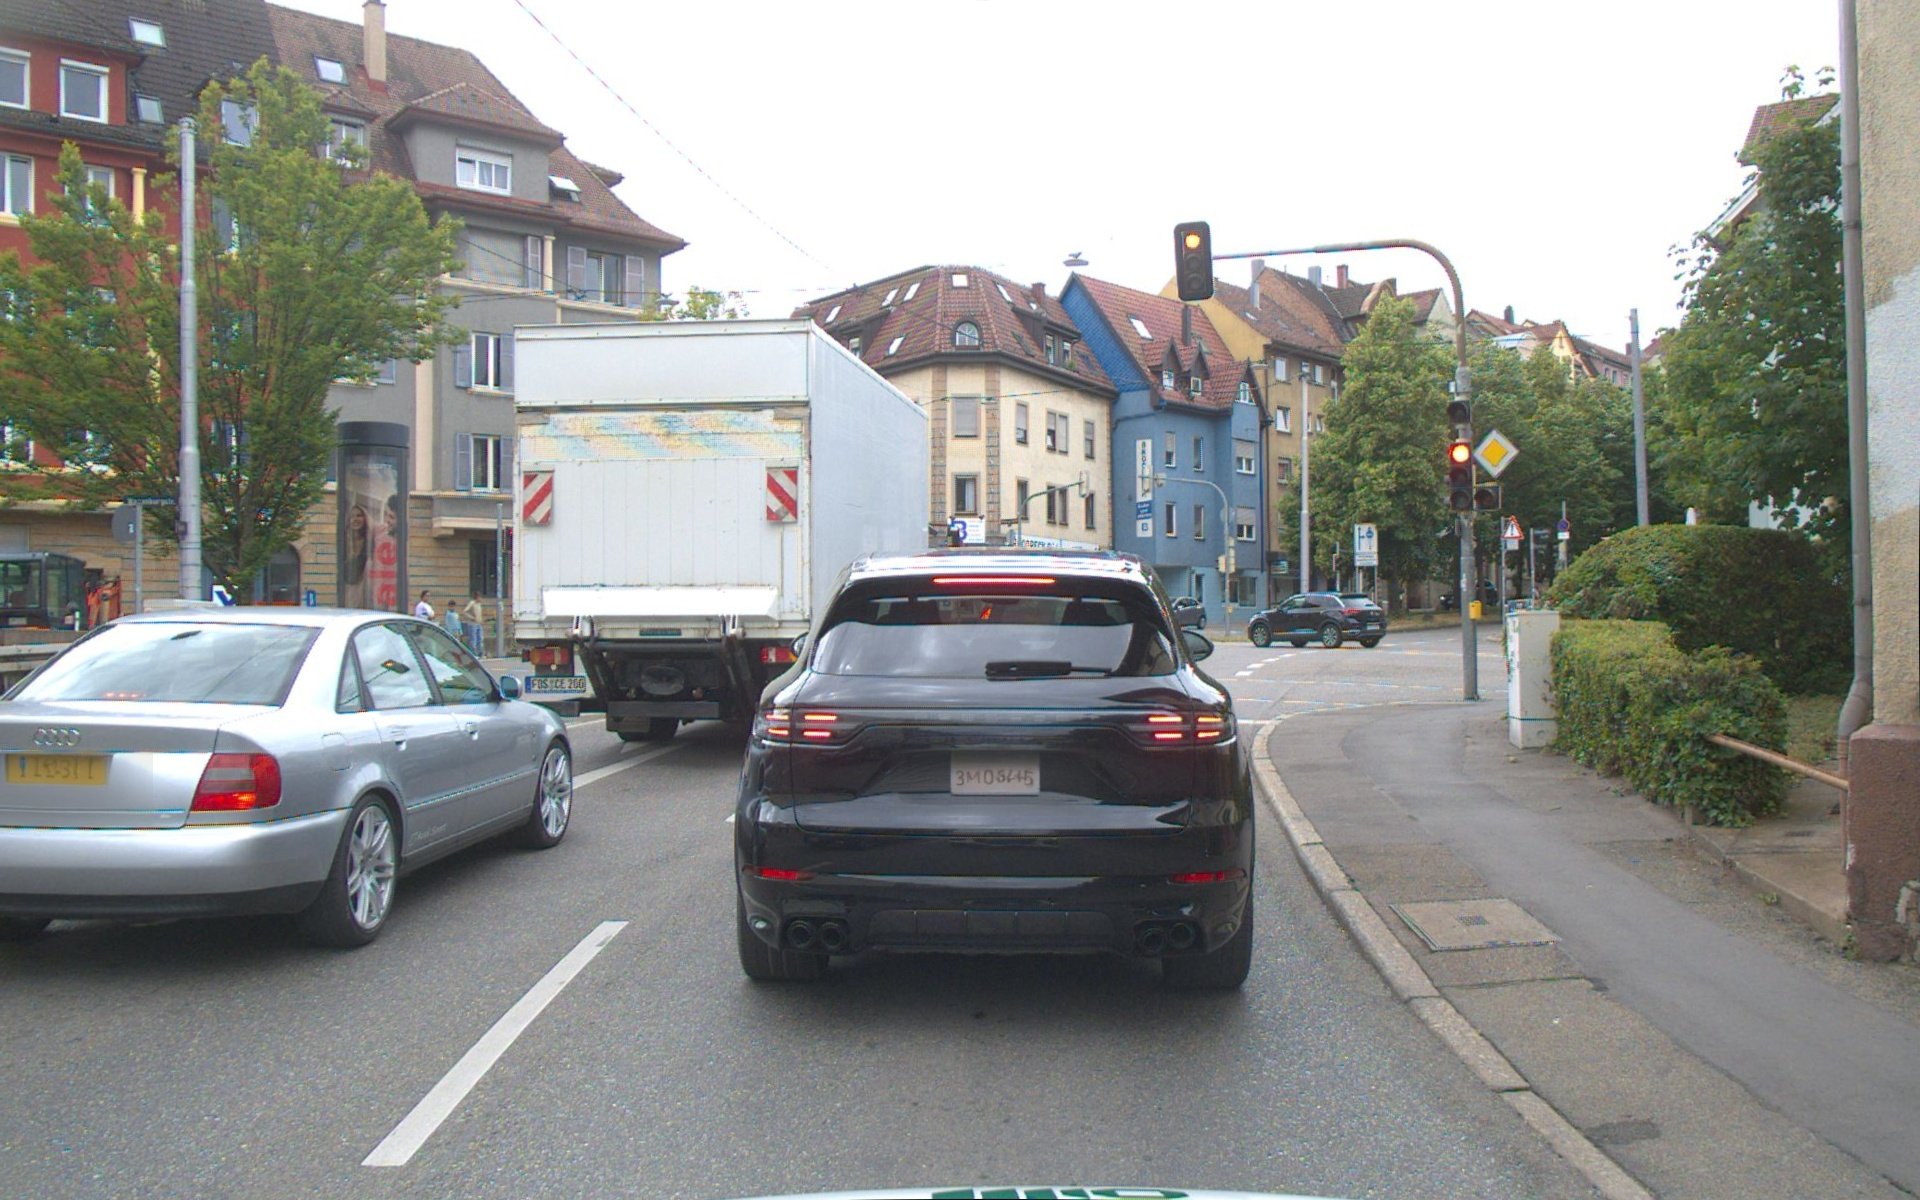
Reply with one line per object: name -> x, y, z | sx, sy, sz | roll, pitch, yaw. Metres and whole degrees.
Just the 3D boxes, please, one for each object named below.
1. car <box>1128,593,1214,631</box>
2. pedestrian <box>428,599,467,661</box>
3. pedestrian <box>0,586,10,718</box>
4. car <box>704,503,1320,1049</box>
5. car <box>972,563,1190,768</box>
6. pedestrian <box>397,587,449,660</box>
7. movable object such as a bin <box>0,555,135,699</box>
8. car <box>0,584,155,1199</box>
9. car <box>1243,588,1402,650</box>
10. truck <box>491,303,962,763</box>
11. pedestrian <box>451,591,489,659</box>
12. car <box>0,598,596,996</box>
car -> 9.118, 0.542, 71.267 | 1.690, 1.502, 4.197 | 0, -2, 39
pedestrian -> -11.405, 0.656, 36.820 | 0.564, 1.361, 0.582 | -1, 0, 34
pedestrian -> -12.549, 0.667, 21.042 | 0.678, 1.665, 0.774 | -1, 0, -21
car -> 0.142, 0.578, 7.656 | 1.990, 1.753, 4.499 | 1, 0, -1
car -> 1.191, 0.520, 14.794 | 1.613, 1.583, 3.586 | 1, 0, 9
pedestrian -> -11.712, 0.511, 36.098 | 0.777, 1.573, 0.738 | -1, 0, 26
movable object such as a bin -> -13.949, 0.382, 25.479 | 1.351, 2.049, 3.525 | -1, 0, -12
car -> -2.711, 0.721, 1.177 | 1.953, 1.454, 4.841 | -1, 0, -1
car -> 9.967, 0.497, 45.650 | 1.979, 1.556, 3.946 | 1, 1, -38
truck -> -1.876, -0.539, 17.309 | 2.667, 3.606, 8.428 | -1, 0, 8
pedestrian -> -11.073, 0.557, 37.366 | 0.648, 1.513, 0.515 | -1, 0, -43
car -> -3.121, 0.705, 7.964 | 1.594, 1.389, 4.130 | -1, 0, 3
